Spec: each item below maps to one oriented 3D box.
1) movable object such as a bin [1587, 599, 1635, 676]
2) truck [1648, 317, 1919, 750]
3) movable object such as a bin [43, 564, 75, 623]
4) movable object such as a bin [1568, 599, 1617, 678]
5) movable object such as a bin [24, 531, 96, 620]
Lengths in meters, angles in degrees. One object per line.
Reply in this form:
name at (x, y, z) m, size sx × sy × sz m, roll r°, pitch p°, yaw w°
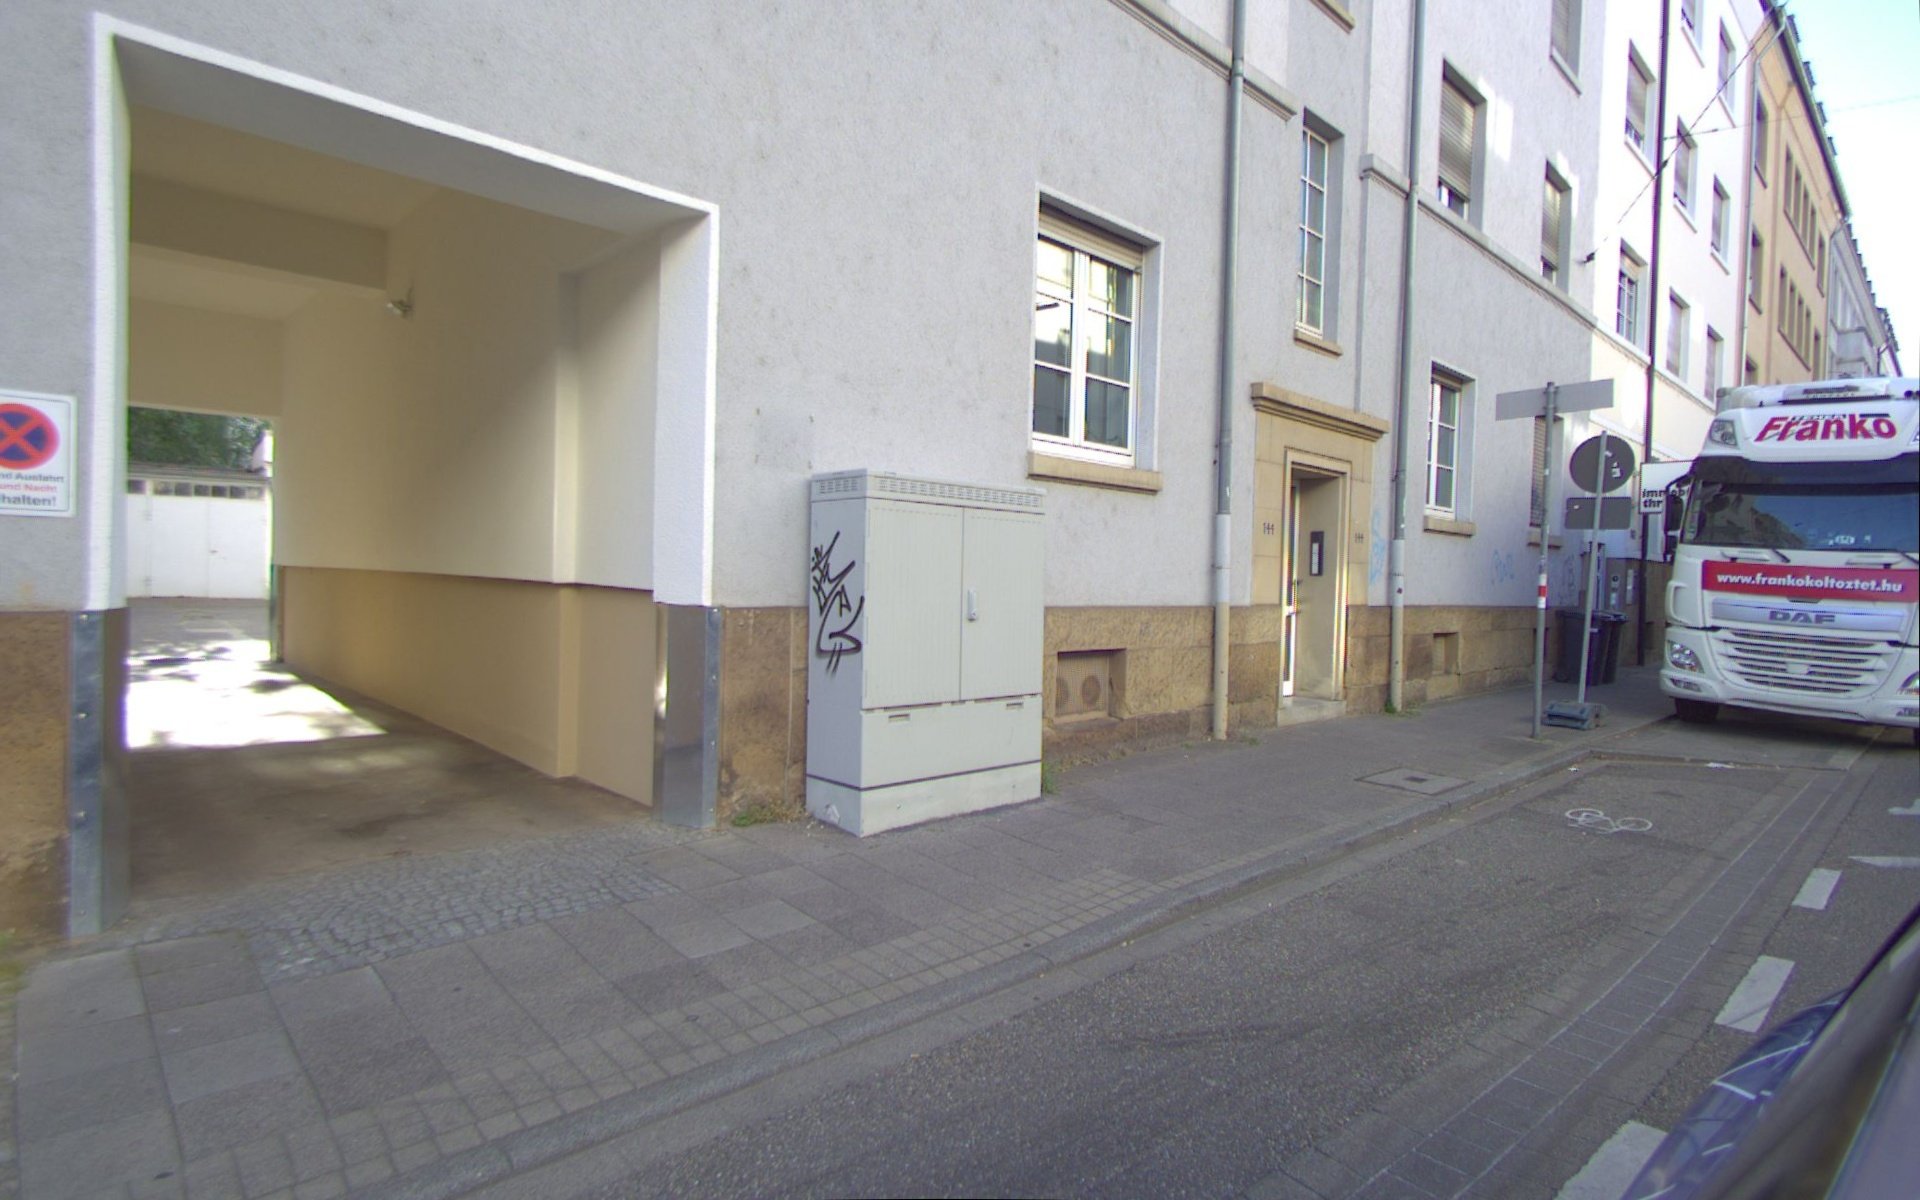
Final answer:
movable object such as a bin at (9.623, 0.540, 14.952) m, size 0.511 × 1.106 × 0.488 m, roll 0°, pitch 0°, yaw 45°
truck at (12.573, -0.609, 13.844) m, size 11.511 × 4.012 × 2.894 m, roll 0°, pitch 0°, yaw -44°
movable object such as a bin at (-14.369, -0.110, 16.144) m, size 0.366 × 0.919 × 0.420 m, roll 0°, pitch 3°, yaw -44°
movable object such as a bin at (9.089, 0.537, 14.542) m, size 0.511 × 1.106 × 0.488 m, roll 0°, pitch 0°, yaw 45°
movable object such as a bin at (-14.913, -0.415, 16.768) m, size 0.874 × 1.409 × 0.758 m, roll 0°, pitch 4°, yaw -44°
